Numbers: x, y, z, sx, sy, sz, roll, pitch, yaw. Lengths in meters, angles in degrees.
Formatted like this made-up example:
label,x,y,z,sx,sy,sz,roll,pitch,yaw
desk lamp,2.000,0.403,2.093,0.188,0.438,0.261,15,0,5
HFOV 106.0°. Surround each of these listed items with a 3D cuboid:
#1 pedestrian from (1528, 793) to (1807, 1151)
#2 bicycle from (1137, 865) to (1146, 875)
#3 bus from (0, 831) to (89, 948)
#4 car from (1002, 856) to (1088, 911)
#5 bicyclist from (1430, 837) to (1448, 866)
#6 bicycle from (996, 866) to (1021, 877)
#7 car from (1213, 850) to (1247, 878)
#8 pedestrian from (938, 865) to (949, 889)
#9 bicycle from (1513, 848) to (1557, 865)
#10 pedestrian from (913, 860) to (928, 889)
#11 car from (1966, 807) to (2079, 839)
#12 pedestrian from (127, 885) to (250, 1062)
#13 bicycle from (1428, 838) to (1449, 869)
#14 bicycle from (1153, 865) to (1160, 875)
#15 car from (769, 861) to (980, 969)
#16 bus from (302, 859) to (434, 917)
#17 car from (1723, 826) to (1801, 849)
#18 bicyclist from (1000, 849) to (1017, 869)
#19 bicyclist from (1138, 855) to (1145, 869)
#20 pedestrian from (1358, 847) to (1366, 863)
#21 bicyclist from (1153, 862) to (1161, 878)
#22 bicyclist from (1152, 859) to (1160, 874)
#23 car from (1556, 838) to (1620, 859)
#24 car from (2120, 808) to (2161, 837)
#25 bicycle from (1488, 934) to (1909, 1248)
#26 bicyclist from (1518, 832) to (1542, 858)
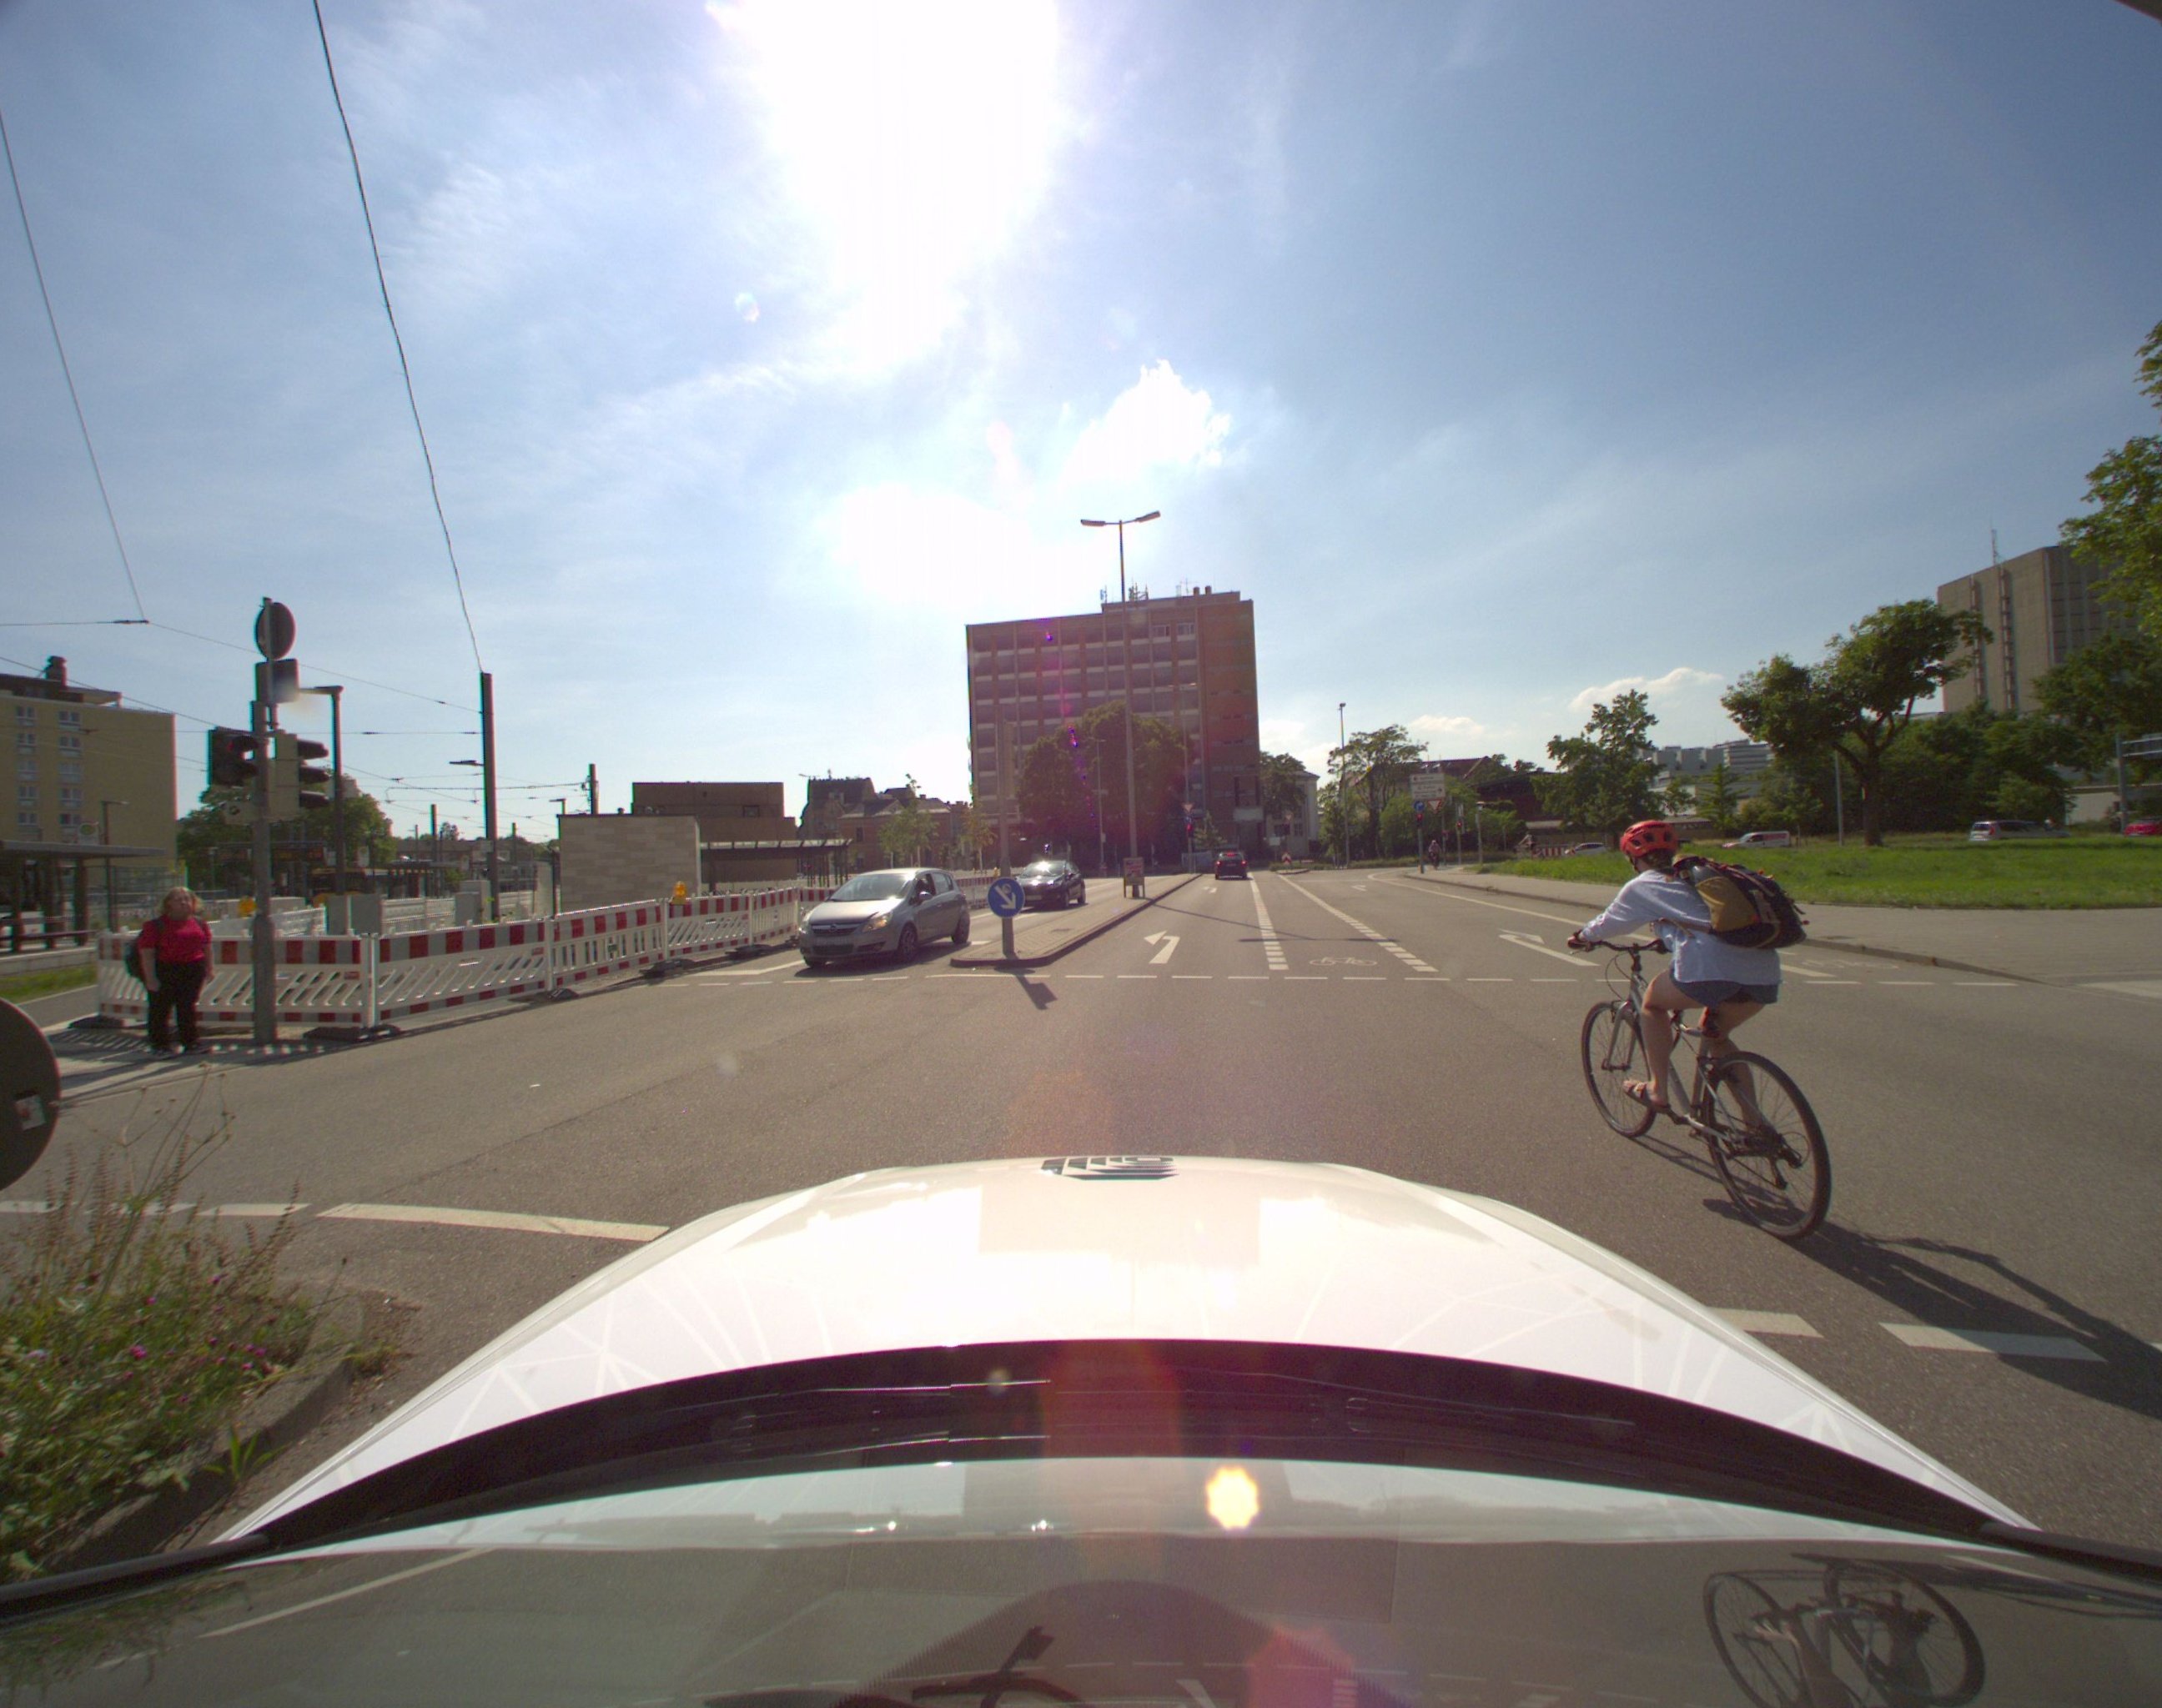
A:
label,x,y,z,sx,sy,sz,roll,pitch,yaw
pedestrian,2.695,0.491,3.869,0.581,1.466,1.014,-1,-1,2
bicycle,6.337,1.655,85.215,0.700,0.977,2.036,-3,-1,9
bus,-32.433,1.050,21.213,2.866,3.489,12.558,-3,0,-24
car,-1.007,0.840,24.861,1.655,1.451,3.830,-4,-1,12
bicyclist,21.114,-0.147,48.051,0.674,1.655,0.921,-3,-1,11
bicycle,-5.791,1.381,65.206,1.873,0.792,0.563,-3,1,23
car,8.258,0.518,44.908,1.768,1.443,3.830,-1,0,12
pedestrian,-9.080,1.506,53.751,0.630,1.491,0.616,-3,-1,-5
bicycle,26.098,0.153,46.861,0.677,0.916,2.147,-3,-1,-31
pedestrian,-10.320,1.329,52.357,0.735,1.752,1.109,-3,-3,-5
car,53.792,-1.764,46.623,3.961,1.508,1.758,-3,-1,11
pedestrian,-8.646,1.125,7.910,0.347,1.616,0.688,-3,-1,12
bicycle,21.116,-0.004,48.089,0.674,1.765,1.816,-3,-1,11
bicycle,7.648,1.629,82.483,0.615,0.961,1.971,-5,-1,7
car,-3.262,0.916,13.759,1.782,1.412,4.013,-4,-1,12
bus,-47.086,2.189,54.366,2.866,3.281,12.558,-2,-1,-24
car,53.437,-1.291,63.986,4.282,1.569,1.916,-3,0,11
bicyclist,-5.819,0.399,65.215,1.155,1.474,0.567,-3,-1,23
bicyclist,6.289,0.818,85.059,0.536,1.417,1.033,-4,-2,9
pedestrian,34.176,0.080,98.994,0.787,1.874,0.642,-4,-1,23
bicyclist,7.671,1.627,82.481,0.615,1.582,1.016,-5,-1,6
bicyclist,7.614,1.229,82.492,0.615,1.443,0.922,-5,-1,6
car,41.602,-0.436,66.883,3.961,1.464,2.006,-3,-2,11
car,60.460,-1.706,44.759,3.961,1.508,1.758,1,0,11
bicycle,2.708,0.947,3.926,0.593,0.931,2.030,-1,-1,4
bicyclist,25.934,-0.509,47.045,0.498,1.470,1.131,0,-2,-31
